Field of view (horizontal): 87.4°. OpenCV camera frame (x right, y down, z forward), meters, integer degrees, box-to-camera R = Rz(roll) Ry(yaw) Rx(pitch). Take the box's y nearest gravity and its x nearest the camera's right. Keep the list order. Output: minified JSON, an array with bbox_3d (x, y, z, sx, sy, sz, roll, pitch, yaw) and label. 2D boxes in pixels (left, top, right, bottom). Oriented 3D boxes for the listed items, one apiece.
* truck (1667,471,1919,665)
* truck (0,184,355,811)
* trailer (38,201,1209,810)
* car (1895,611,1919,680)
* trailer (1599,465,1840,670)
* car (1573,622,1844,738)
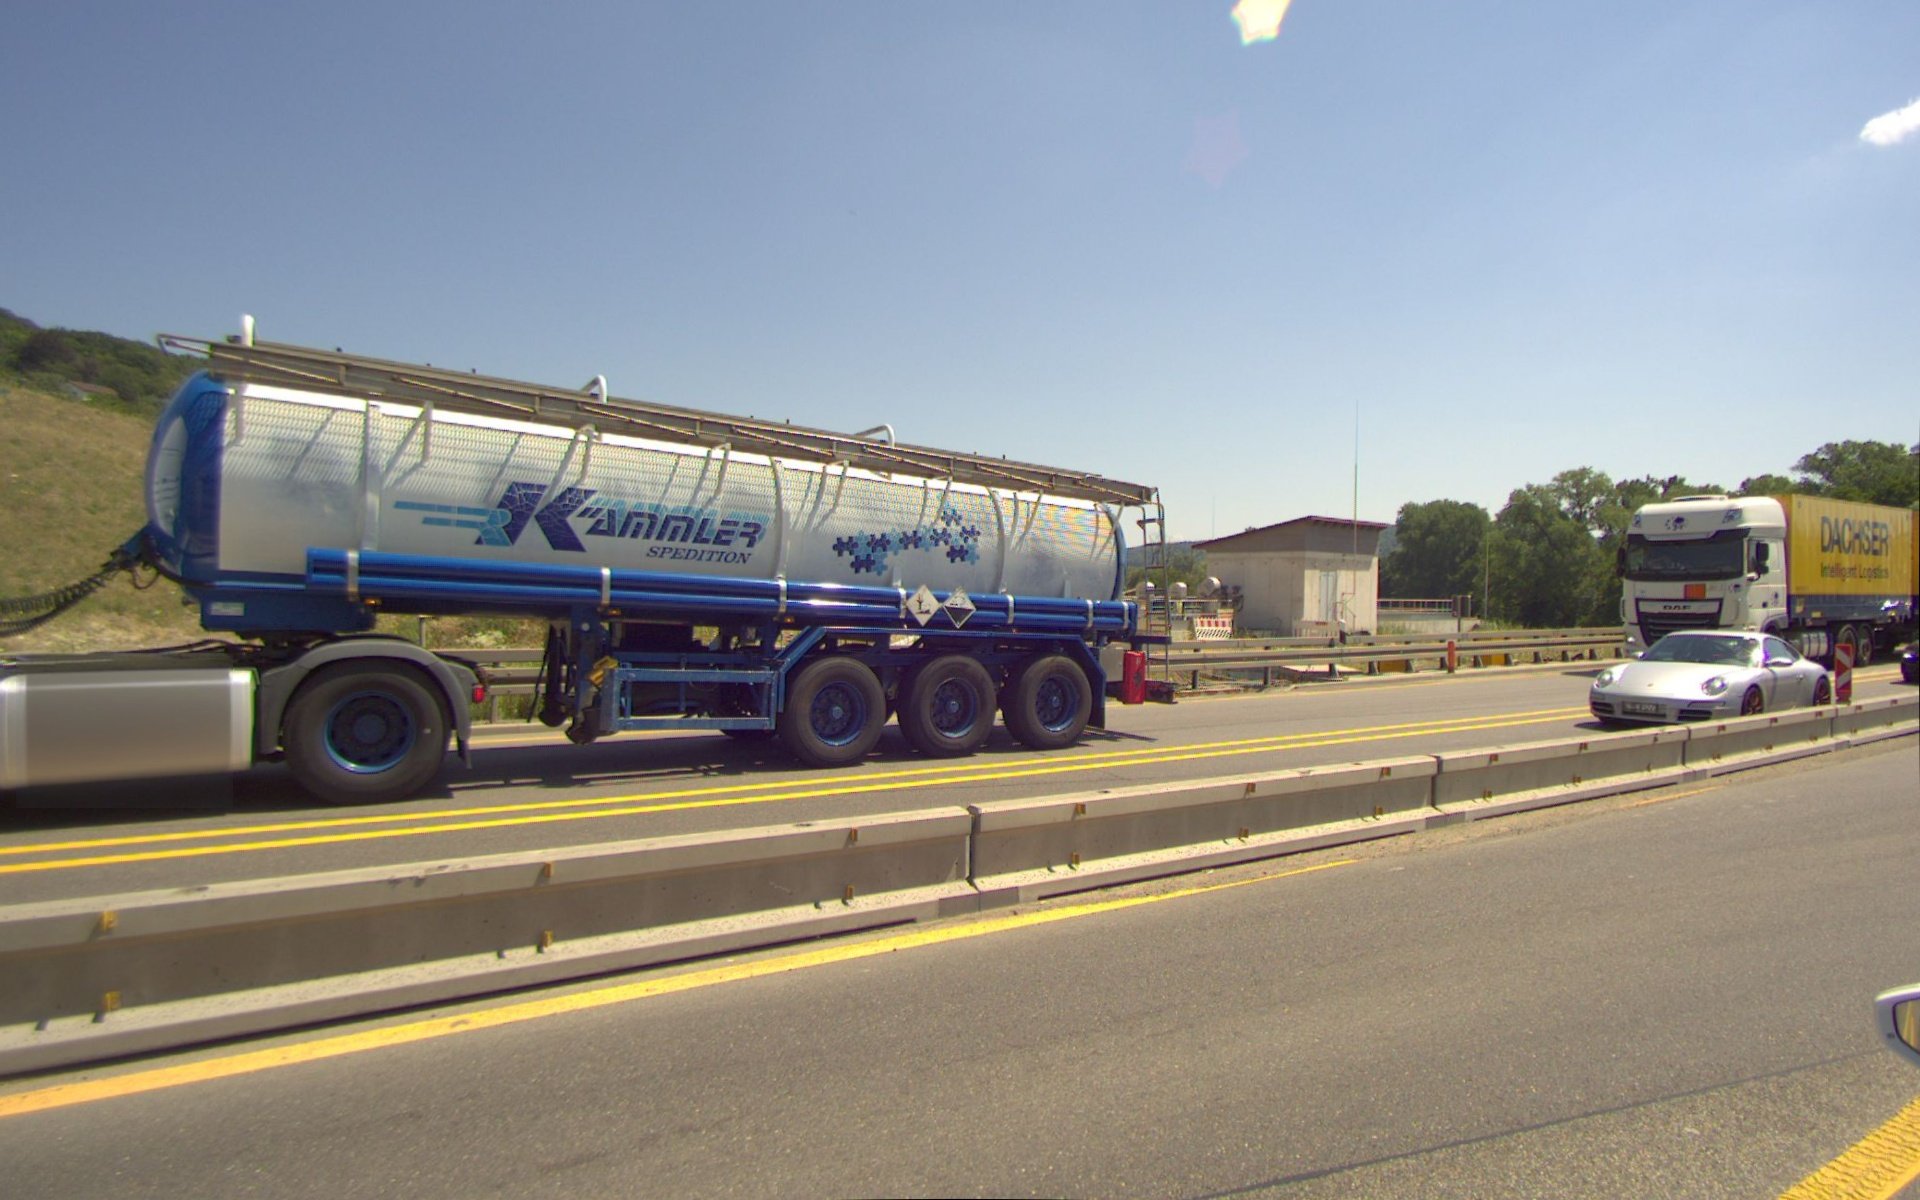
[{"bbox_3d":[25.044,-0.685,27.894,15.194,4.400,2.793,1,1,-31],"label":"truck"},{"bbox_3d":[-7.106,-0.666,6.954,4.896,3.873,2.519,2,1,-33],"label":"truck"},{"bbox_3d":[-2.115,-0.492,10.085,10.130,3.840,2.512,2,1,-32],"label":"trailer"},{"bbox_3d":[21.546,0.934,21.189,4.455,1.380,1.666,0,1,-33],"label":"car"},{"bbox_3d":[17.855,-0.654,23.581,5.161,4.286,2.850,1,0,-32],"label":"trailer"},{"bbox_3d":[10.470,1.004,13.964,4.289,1.282,1.666,0,1,-33],"label":"car"}]
